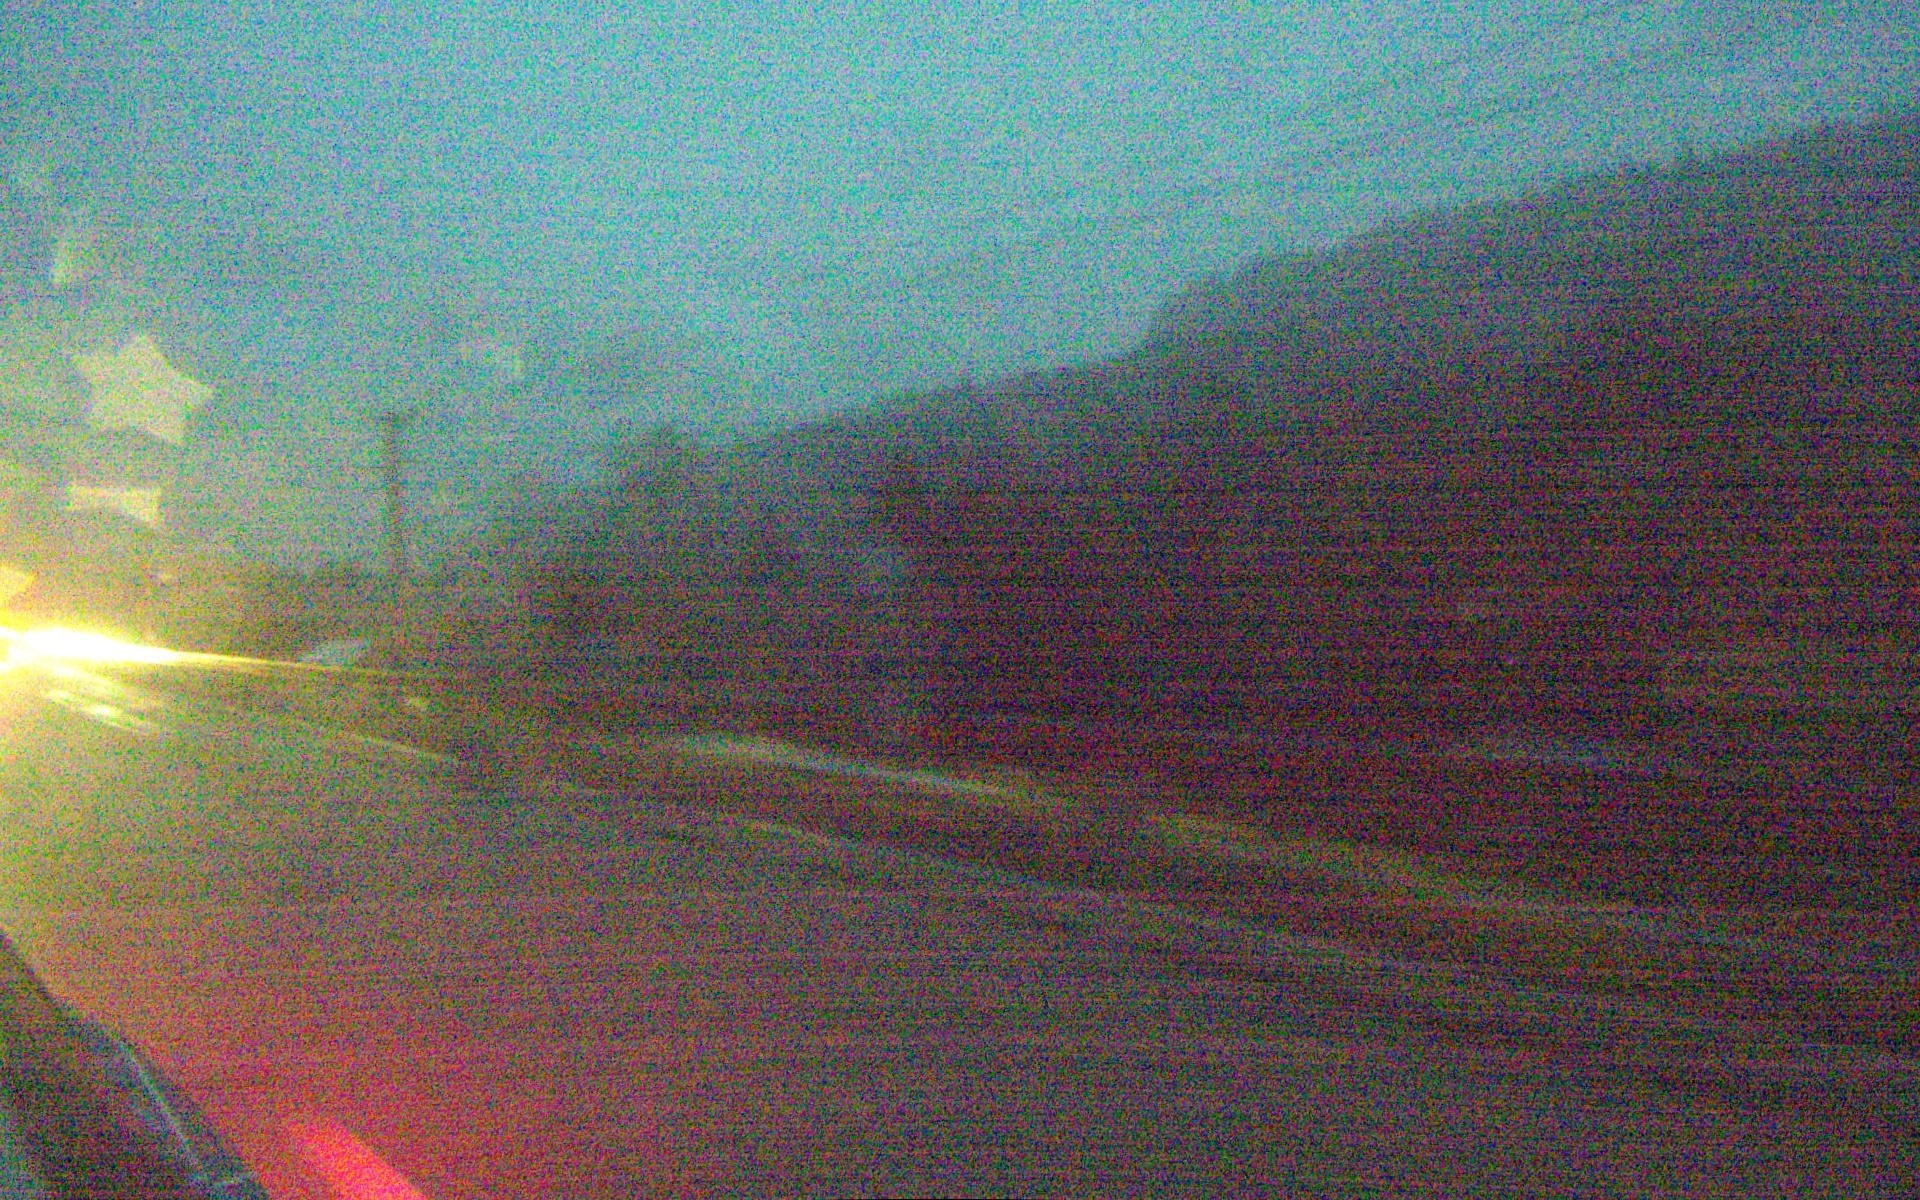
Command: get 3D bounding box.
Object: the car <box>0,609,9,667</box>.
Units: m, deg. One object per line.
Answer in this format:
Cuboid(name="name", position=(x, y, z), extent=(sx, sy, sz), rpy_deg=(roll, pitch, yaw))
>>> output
Cuboid(name="car", position=(-32.637, 1.258, 33.050), extent=(3.999, 1.836, 1.972), rpy_deg=(-1, 0, 42))
